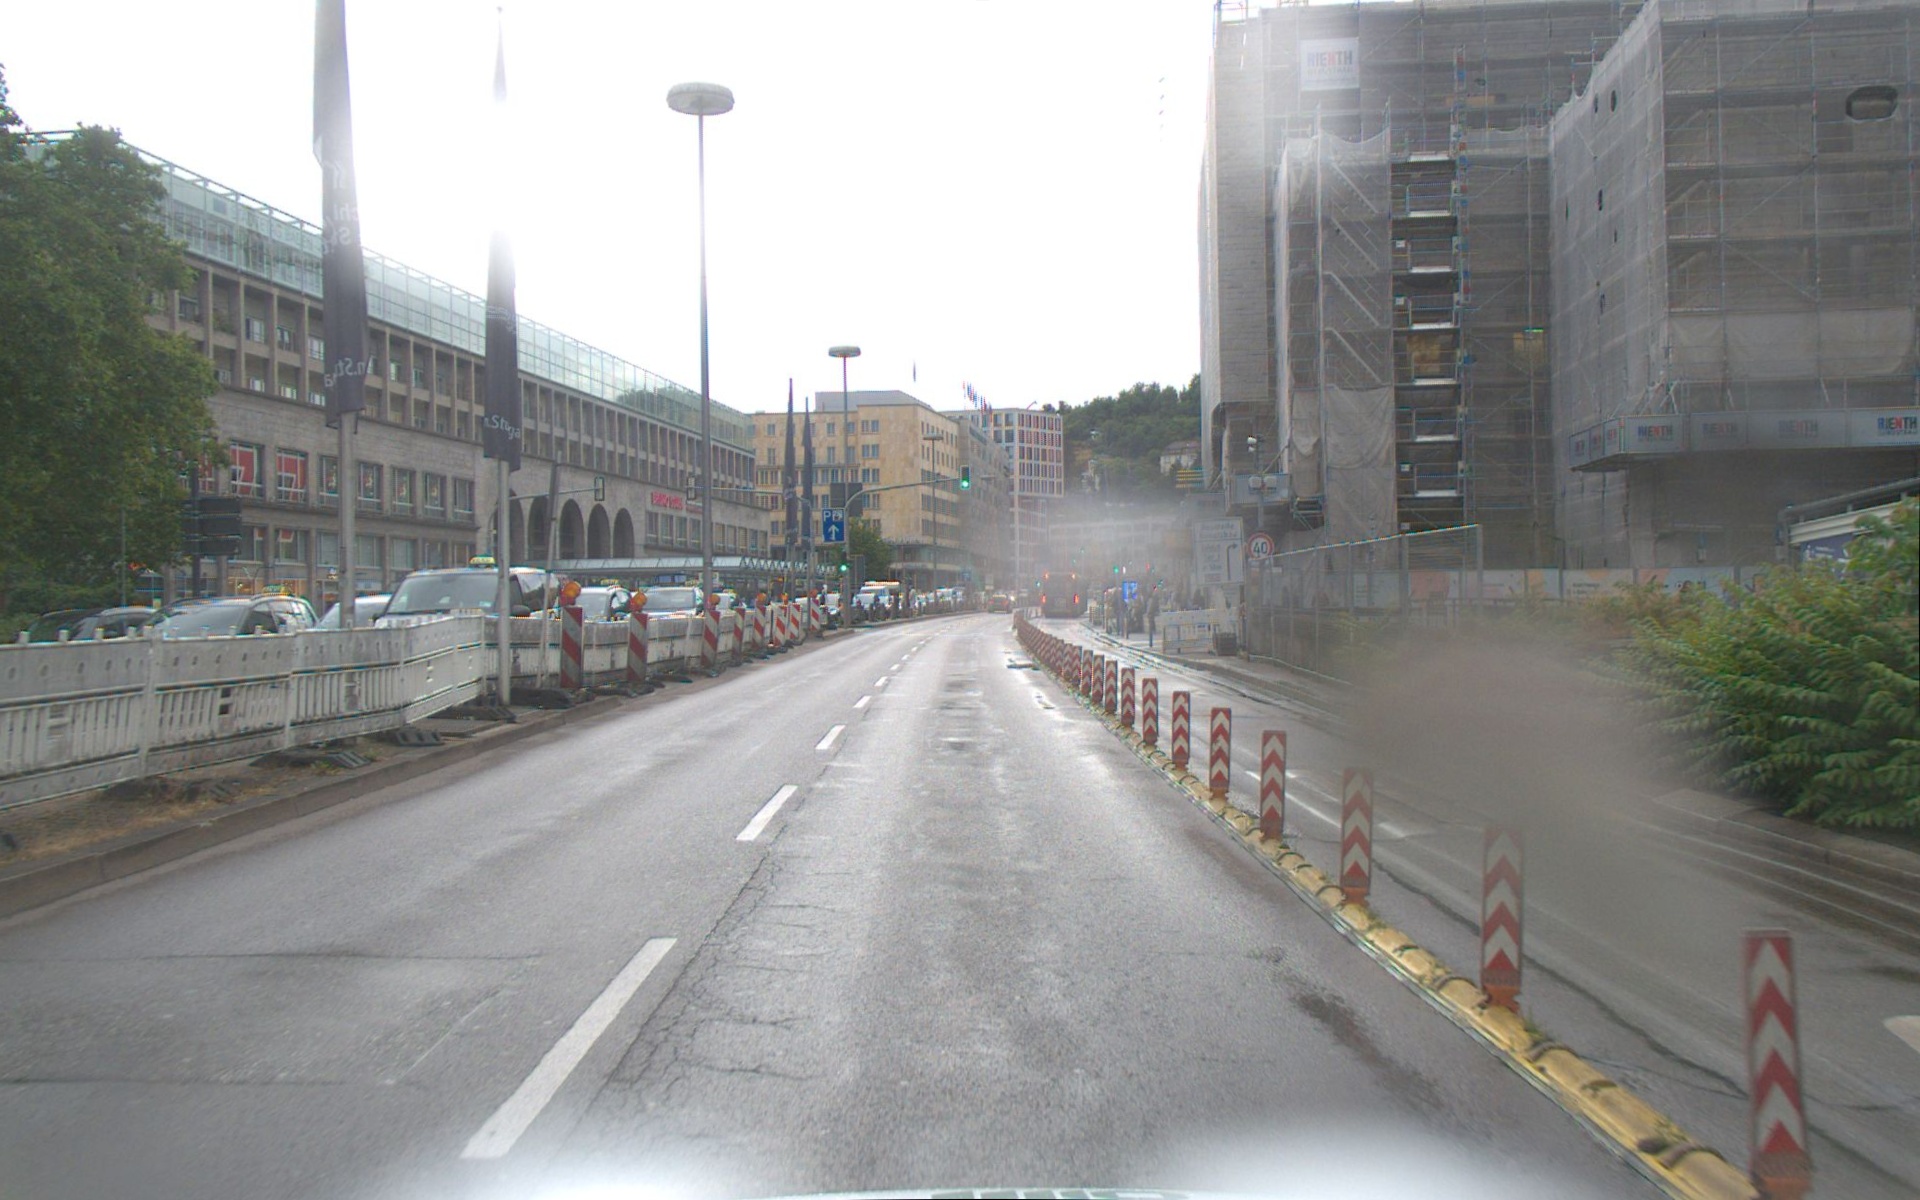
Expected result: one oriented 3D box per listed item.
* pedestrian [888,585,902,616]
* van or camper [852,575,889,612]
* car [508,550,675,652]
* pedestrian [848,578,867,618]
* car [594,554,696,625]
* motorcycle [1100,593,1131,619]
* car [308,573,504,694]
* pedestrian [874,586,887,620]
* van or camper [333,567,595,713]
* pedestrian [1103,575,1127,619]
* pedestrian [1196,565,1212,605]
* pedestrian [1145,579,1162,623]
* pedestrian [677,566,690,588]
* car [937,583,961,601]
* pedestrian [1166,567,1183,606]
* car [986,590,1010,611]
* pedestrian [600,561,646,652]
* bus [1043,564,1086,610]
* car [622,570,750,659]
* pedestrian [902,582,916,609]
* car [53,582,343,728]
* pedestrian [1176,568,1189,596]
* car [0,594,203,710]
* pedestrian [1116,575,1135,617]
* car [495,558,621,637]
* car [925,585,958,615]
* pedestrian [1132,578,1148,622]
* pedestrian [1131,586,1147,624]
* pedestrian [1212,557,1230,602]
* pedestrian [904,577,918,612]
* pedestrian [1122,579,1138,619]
[{"bbox_3d":[-3.829,0.037,97.411,0.684,1.785,0.712,-1,1,5],"label":"pedestrian"},{"bbox_3d":[-6.796,-0.506,125.918,1.952,2.557,5.374,-4,1,4],"label":"van or camper"},{"bbox_3d":[-7.226,-0.051,32.945,1.952,1.801,4.814,-2,2,3],"label":"car"},{"bbox_3d":[-4.847,-0.103,78.253,0.767,1.806,0.606,-4,1,-6],"label":"pedestrian"},{"bbox_3d":[-9.109,-0.349,48.164,1.863,1.931,4.526,0,2,3],"label":"car"},{"bbox_3d":[6.263,0.240,66.600,0.580,1.039,1.223,-2,2,-37],"label":"motorcycle"},{"bbox_3d":[-10.218,0.536,30.899,1.875,1.883,4.568,4,2,2],"label":"car"},{"bbox_3d":[-4.157,0.162,86.749,0.637,1.741,0.593,0,2,4],"label":"pedestrian"},{"bbox_3d":[-6.971,0.455,23.951,1.904,1.851,5.395,0,1,3],"label":"van or camper"},{"bbox_3d":[6.247,-0.128,66.604,0.575,1.771,0.811,-2,1,-37],"label":"pedestrian"},{"bbox_3d":[10.447,-0.667,70.911,0.538,1.660,0.996,-4,1,6],"label":"pedestrian"},{"bbox_3d":[7.685,0.028,65.643,0.546,1.679,0.615,-4,1,7],"label":"pedestrian"},{"bbox_3d":[-18.563,-1.556,111.165,0.695,1.417,0.699,-1,2,-24],"label":"pedestrian"},{"bbox_3d":[-1.017,-0.757,156.039,1.952,1.579,4.002,-2,1,4],"label":"car"},{"bbox_3d":[10.701,-0.696,82.501,0.707,1.879,0.811,-4,1,6],"label":"pedestrian"},{"bbox_3d":[3.118,0.000,136.797,1.952,1.579,4.001,-2,1,1],"label":"car"},{"bbox_3d":[-7.717,0.134,37.866,0.857,2.048,0.821,-1,1,-1],"label":"pedestrian"},{"bbox_3d":[7.551,-0.988,118.774,2.697,3.122,9.087,0,1,6],"label":"bus"},{"bbox_3d":[-6.487,0.291,39.670,1.952,1.848,4.814,-2,2,3],"label":"car"},{"bbox_3d":[-3.130,-0.298,101.496,0.707,1.634,0.997,0,2,5],"label":"pedestrian"},{"bbox_3d":[-10.429,0.675,23.031,1.851,1.731,4.304,0,2,3],"label":"car"},{"bbox_3d":[12.776,-1.020,95.119,0.637,1.566,0.666,-4,1,7],"label":"pedestrian"},{"bbox_3d":[-15.169,0.825,28.759,1.851,1.731,4.304,0,2,3],"label":"car"},{"bbox_3d":[7.143,-0.180,71.499,0.547,1.789,0.751,-4,1,-8],"label":"pedestrian"},{"bbox_3d":[-9.923,-0.124,41.180,1.746,1.752,4.486,-2,2,3],"label":"car"},{"bbox_3d":[-1.500,-0.022,137.800,1.951,2.216,5.549,-1,1,7],"label":"car"},{"bbox_3d":[7.479,0.006,68.574,0.546,1.782,0.712,-4,1,7],"label":"pedestrian"},{"bbox_3d":[7.324,0.197,67.632,0.546,1.474,0.712,-4,1,7],"label":"pedestrian"},{"bbox_3d":[9.905,-0.785,62.746,0.552,1.679,0.615,-4,1,10],"label":"pedestrian"},{"bbox_3d":[-2.874,-0.316,97.339,0.707,2.042,0.773,0,1,5],"label":"pedestrian"},{"bbox_3d":[7.232,-0.046,70.324,0.546,1.669,0.753,-4,1,7],"label":"pedestrian"}]
